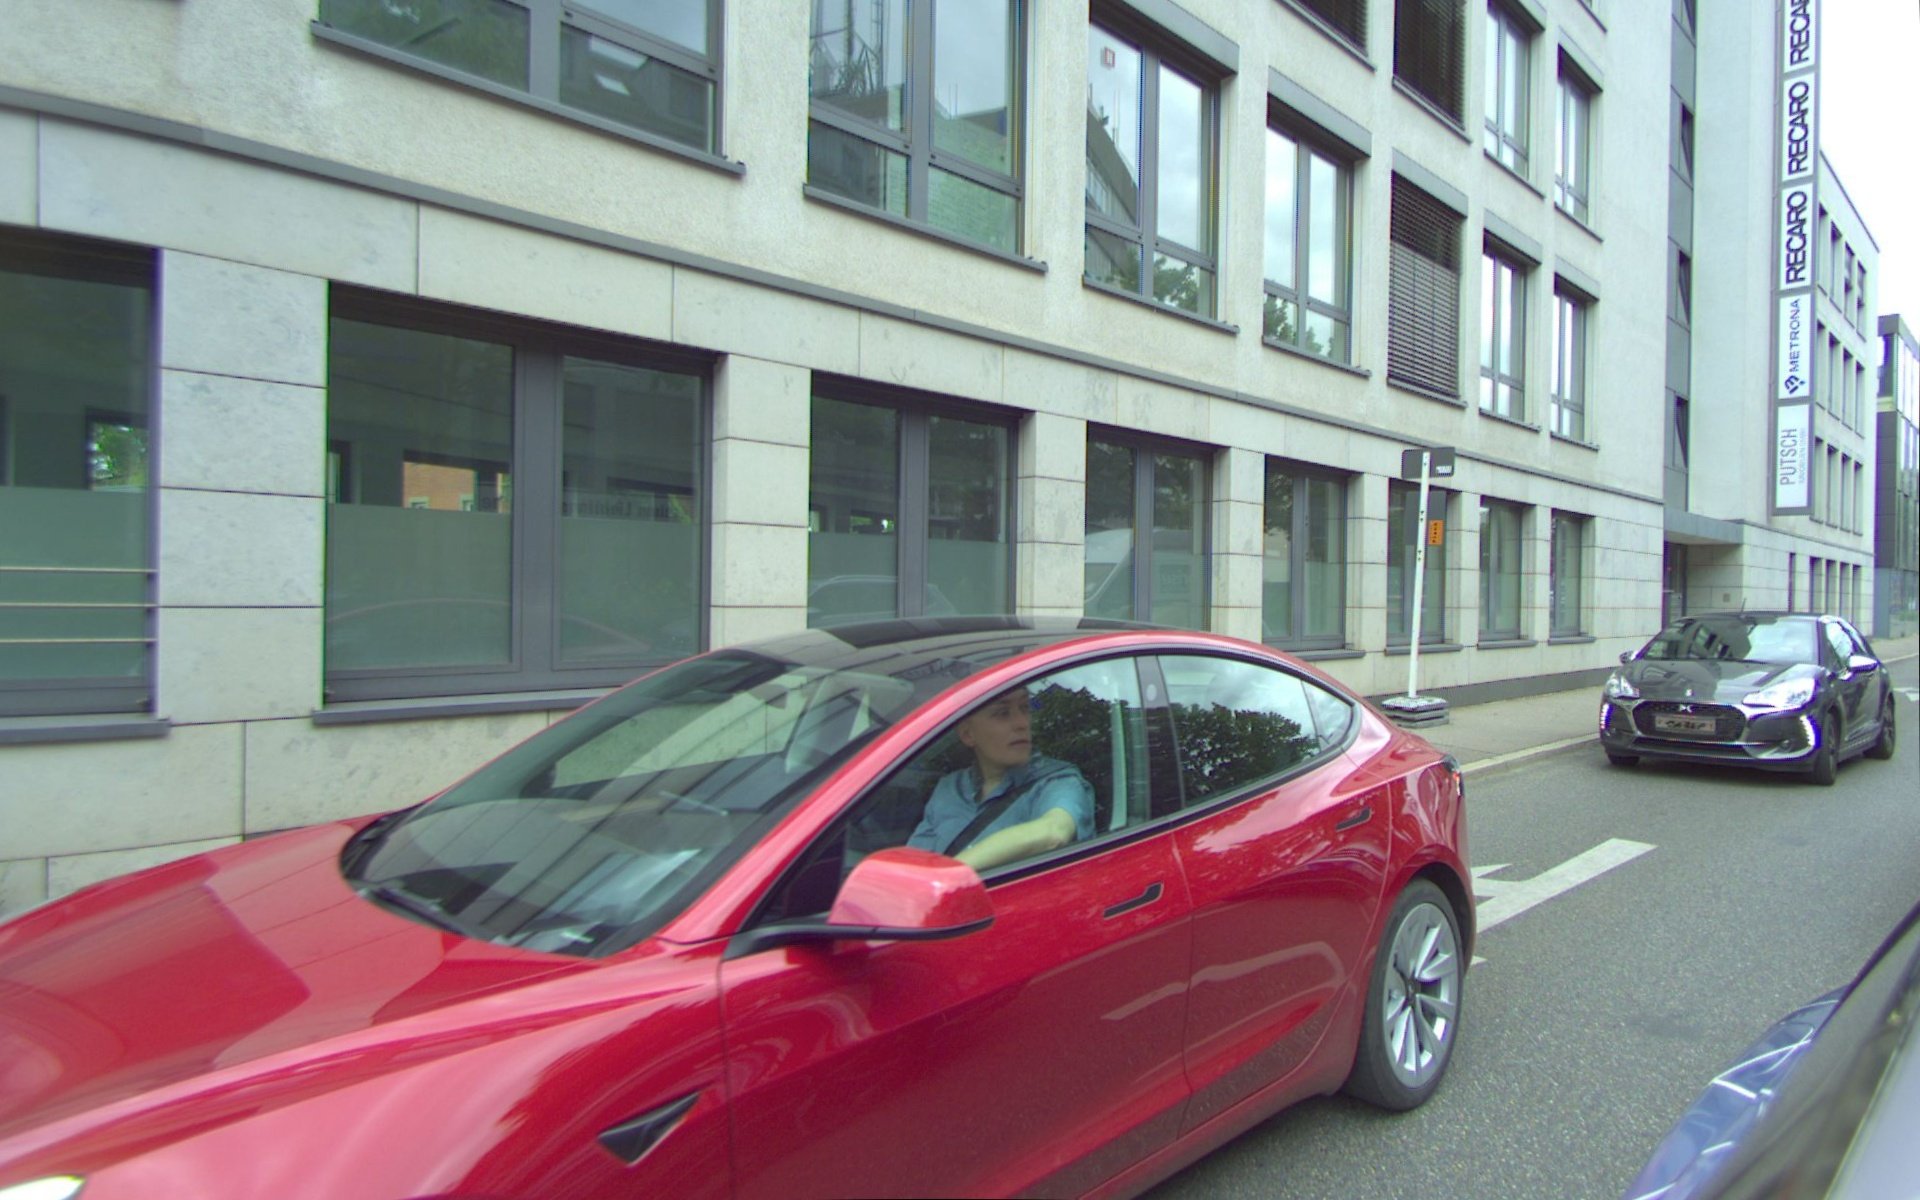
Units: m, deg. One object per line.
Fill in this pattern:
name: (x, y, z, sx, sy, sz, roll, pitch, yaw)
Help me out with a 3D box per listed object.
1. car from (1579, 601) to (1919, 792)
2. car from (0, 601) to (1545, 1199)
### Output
car: (7.723, 0.760, 9.773, 3.988, 1.479, 1.705, 0, -1, -38)
car: (-0.324, 0.730, 2.550, 4.366, 1.436, 1.875, 0, -1, -42)
